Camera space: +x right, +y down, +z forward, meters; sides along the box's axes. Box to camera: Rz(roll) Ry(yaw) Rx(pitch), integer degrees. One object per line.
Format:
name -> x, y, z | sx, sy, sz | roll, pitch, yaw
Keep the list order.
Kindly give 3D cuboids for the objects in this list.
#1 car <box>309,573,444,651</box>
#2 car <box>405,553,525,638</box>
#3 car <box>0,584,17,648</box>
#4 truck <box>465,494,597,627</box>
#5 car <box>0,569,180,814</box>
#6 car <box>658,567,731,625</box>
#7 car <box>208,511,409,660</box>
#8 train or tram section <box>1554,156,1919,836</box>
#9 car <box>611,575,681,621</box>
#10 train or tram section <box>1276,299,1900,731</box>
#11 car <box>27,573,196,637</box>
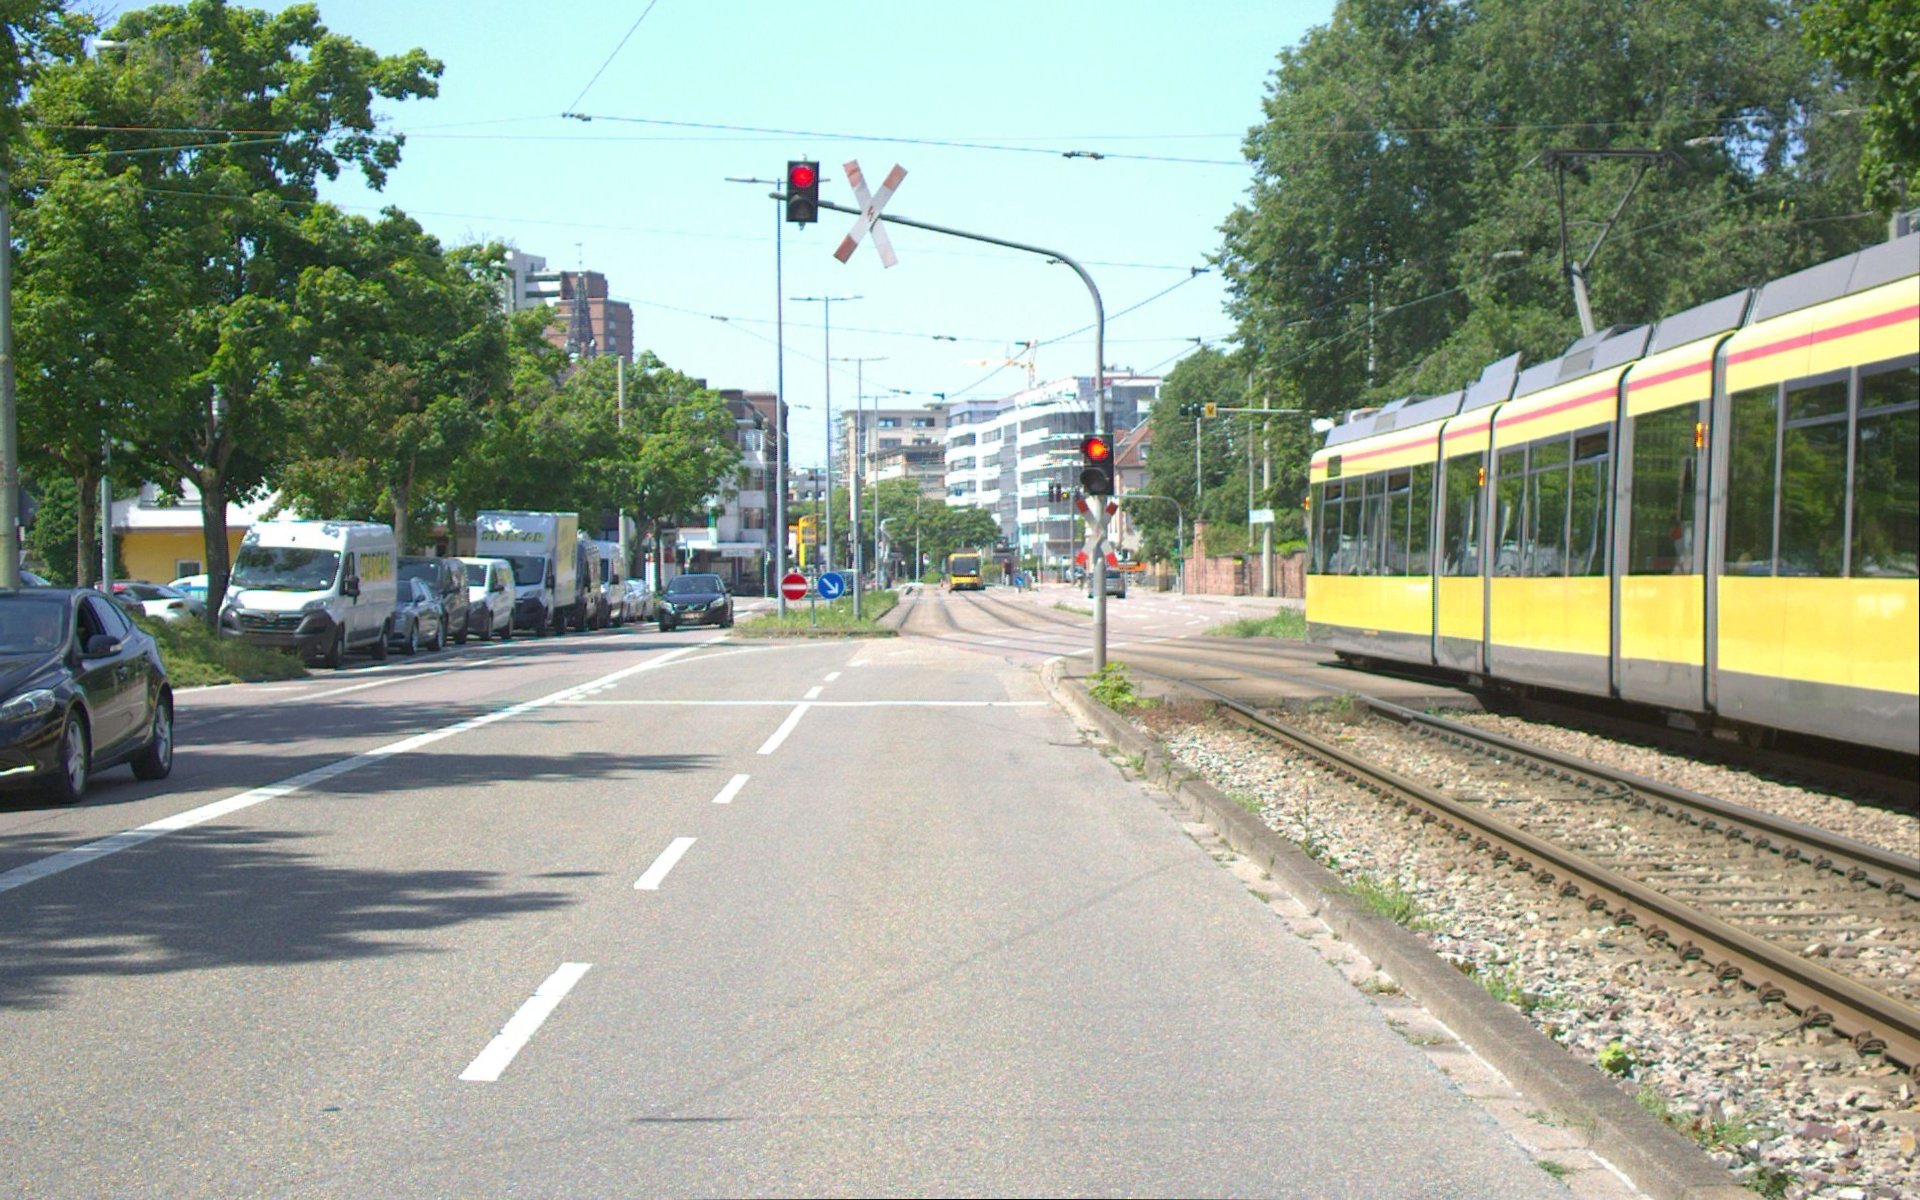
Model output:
car -> -11.377, 0.209, 67.306 | 1.868, 1.432, 4.343 | -1, 1, 0
car -> -11.490, -0.131, 80.105 | 2.061, 1.891, 4.871 | -1, 1, 0
car -> -22.113, 0.367, 72.410 | 3.987, 1.335, 1.805 | -1, 1, -1
truck -> -10.996, -1.028, 88.684 | 2.157, 3.199, 7.082 | 3, 1, 2
car -> -6.513, 0.560, 22.880 | 1.774, 1.455, 4.195 | -2, 1, -2
car -> -6.885, -0.122, 89.512 | 1.677, 1.393, 4.006 | -3, 1, -2
car -> -11.388, -0.285, 60.586 | 2.157, 2.478, 6.192 | 1, 1, 2
train or tram section -> 6.644, -0.580, 20.244 | 2.943, 3.679, 18.390 | 0, 1, 0
car -> -11.396, -0.086, 124.962 | 2.061, 1.576, 4.871 | -1, 1, 0
train or tram section -> 6.313, -0.872, 39.577 | 2.943, 3.679, 20.285 | 0, 1, -1
car -> -22.234, 0.132, 90.155 | 3.987, 1.601, 1.805 | -1, 1, -1
